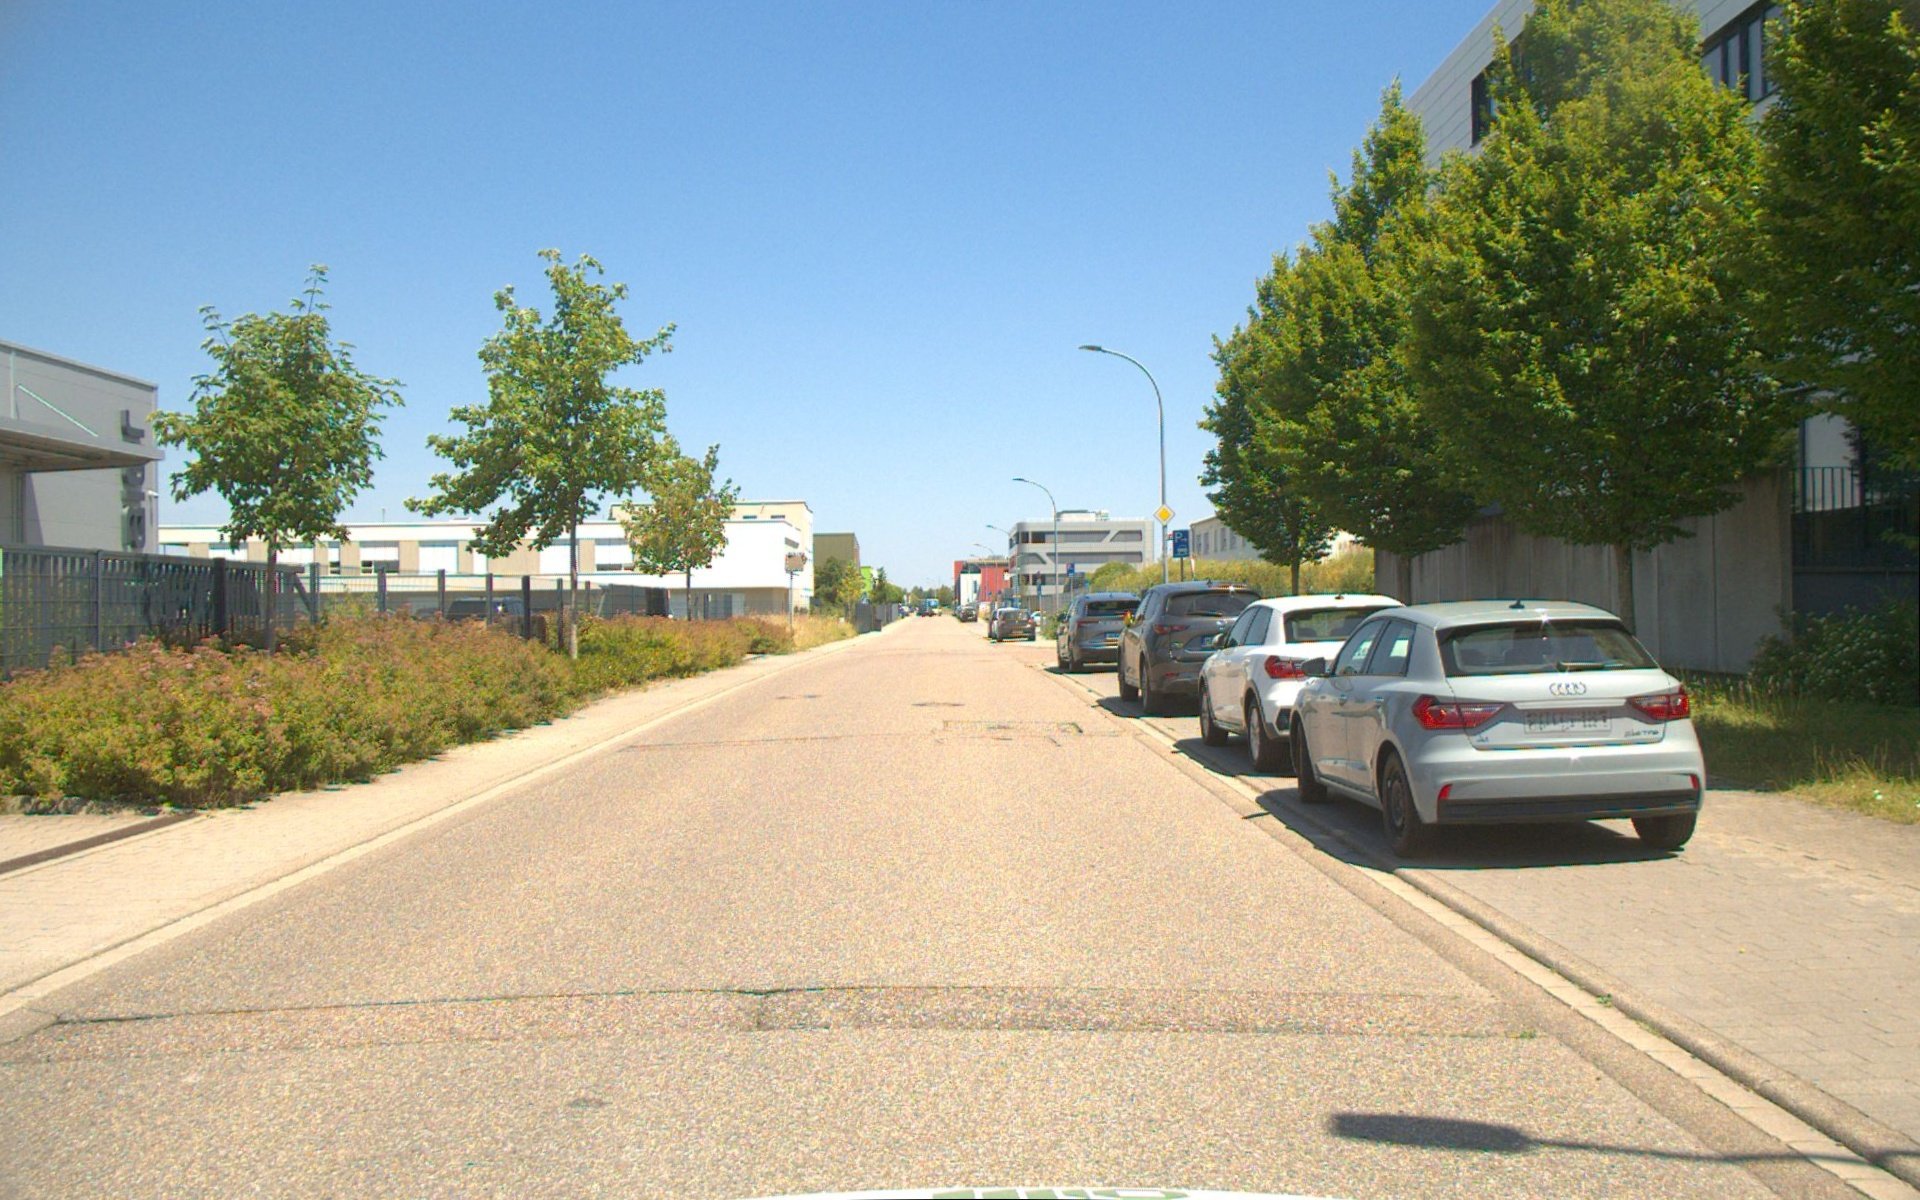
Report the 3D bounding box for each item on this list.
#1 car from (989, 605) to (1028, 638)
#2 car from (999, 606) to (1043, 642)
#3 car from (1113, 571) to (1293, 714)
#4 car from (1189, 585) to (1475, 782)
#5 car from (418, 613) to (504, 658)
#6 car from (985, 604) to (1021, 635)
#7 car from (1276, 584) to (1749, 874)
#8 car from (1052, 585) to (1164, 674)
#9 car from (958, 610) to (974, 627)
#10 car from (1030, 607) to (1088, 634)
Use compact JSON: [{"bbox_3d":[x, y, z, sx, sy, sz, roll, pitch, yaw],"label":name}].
[{"bbox_3d":[2.475,1.073,83.835,1.868,1.573,4.001,-2,0,2],"label":"car"},{"bbox_3d":[2.748,1.059,74.921,1.868,1.473,4.001,-2,0,2],"label":"car"},{"bbox_3d":[3.194,0.517,22.531,1.722,1.692,4.362,-2,0,0],"label":"car"},{"bbox_3d":[3.306,0.672,15.478,1.681,1.507,4.031,-3,0,0],"label":"car"},{"bbox_3d":[-16.102,1.130,53.522,1.789,1.361,3.757,-1,0,-3],"label":"car"},{"bbox_3d":[2.383,1.068,90.611,1.868,1.573,4.001,-2,0,2],"label":"car"},{"bbox_3d":[3.321,0.682,10.780,1.681,1.448,3.950,-3,0,0],"label":"car"},{"bbox_3d":[3.100,0.587,35.475,1.767,1.691,4.606,-3,0,-2],"label":"car"},{"bbox_3d":[0.665,2.072,185.566,1.740,1.758,3.999,1,0,-1],"label":"car"},{"bbox_3d":[7.928,1.621,132.416,4.529,2.049,2.607,1,0,2],"label":"car"}]
